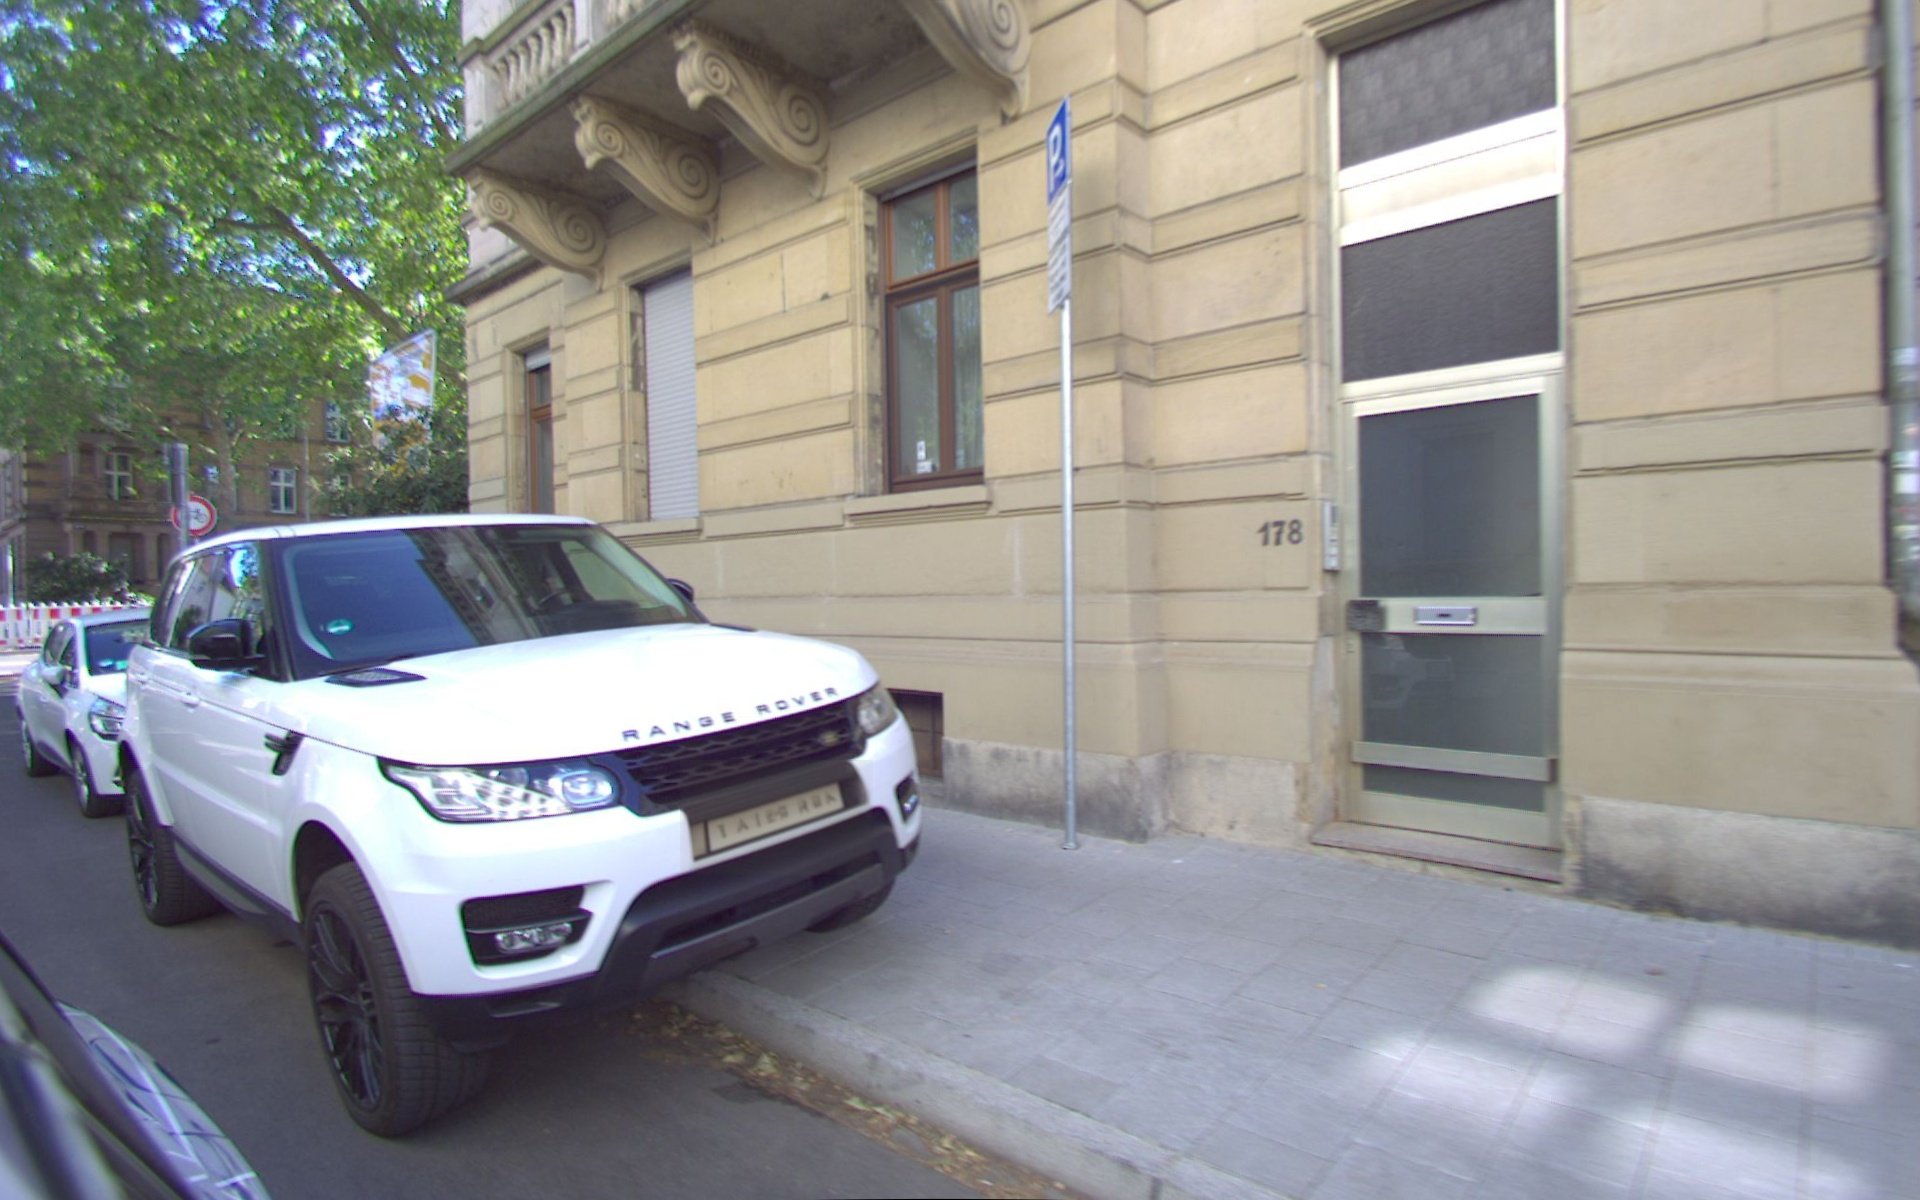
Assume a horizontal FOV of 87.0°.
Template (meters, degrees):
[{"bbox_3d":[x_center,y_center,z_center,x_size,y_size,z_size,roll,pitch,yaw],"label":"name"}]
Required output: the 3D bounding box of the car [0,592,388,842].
[{"bbox_3d":[-6.675,0.762,8.616,3.939,1.573,1.848,0,2,40],"label":"car"}]

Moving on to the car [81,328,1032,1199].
[{"bbox_3d":[-2.101,0.468,4.357,4.542,2.029,2.000,-1,0,42],"label":"car"}]
